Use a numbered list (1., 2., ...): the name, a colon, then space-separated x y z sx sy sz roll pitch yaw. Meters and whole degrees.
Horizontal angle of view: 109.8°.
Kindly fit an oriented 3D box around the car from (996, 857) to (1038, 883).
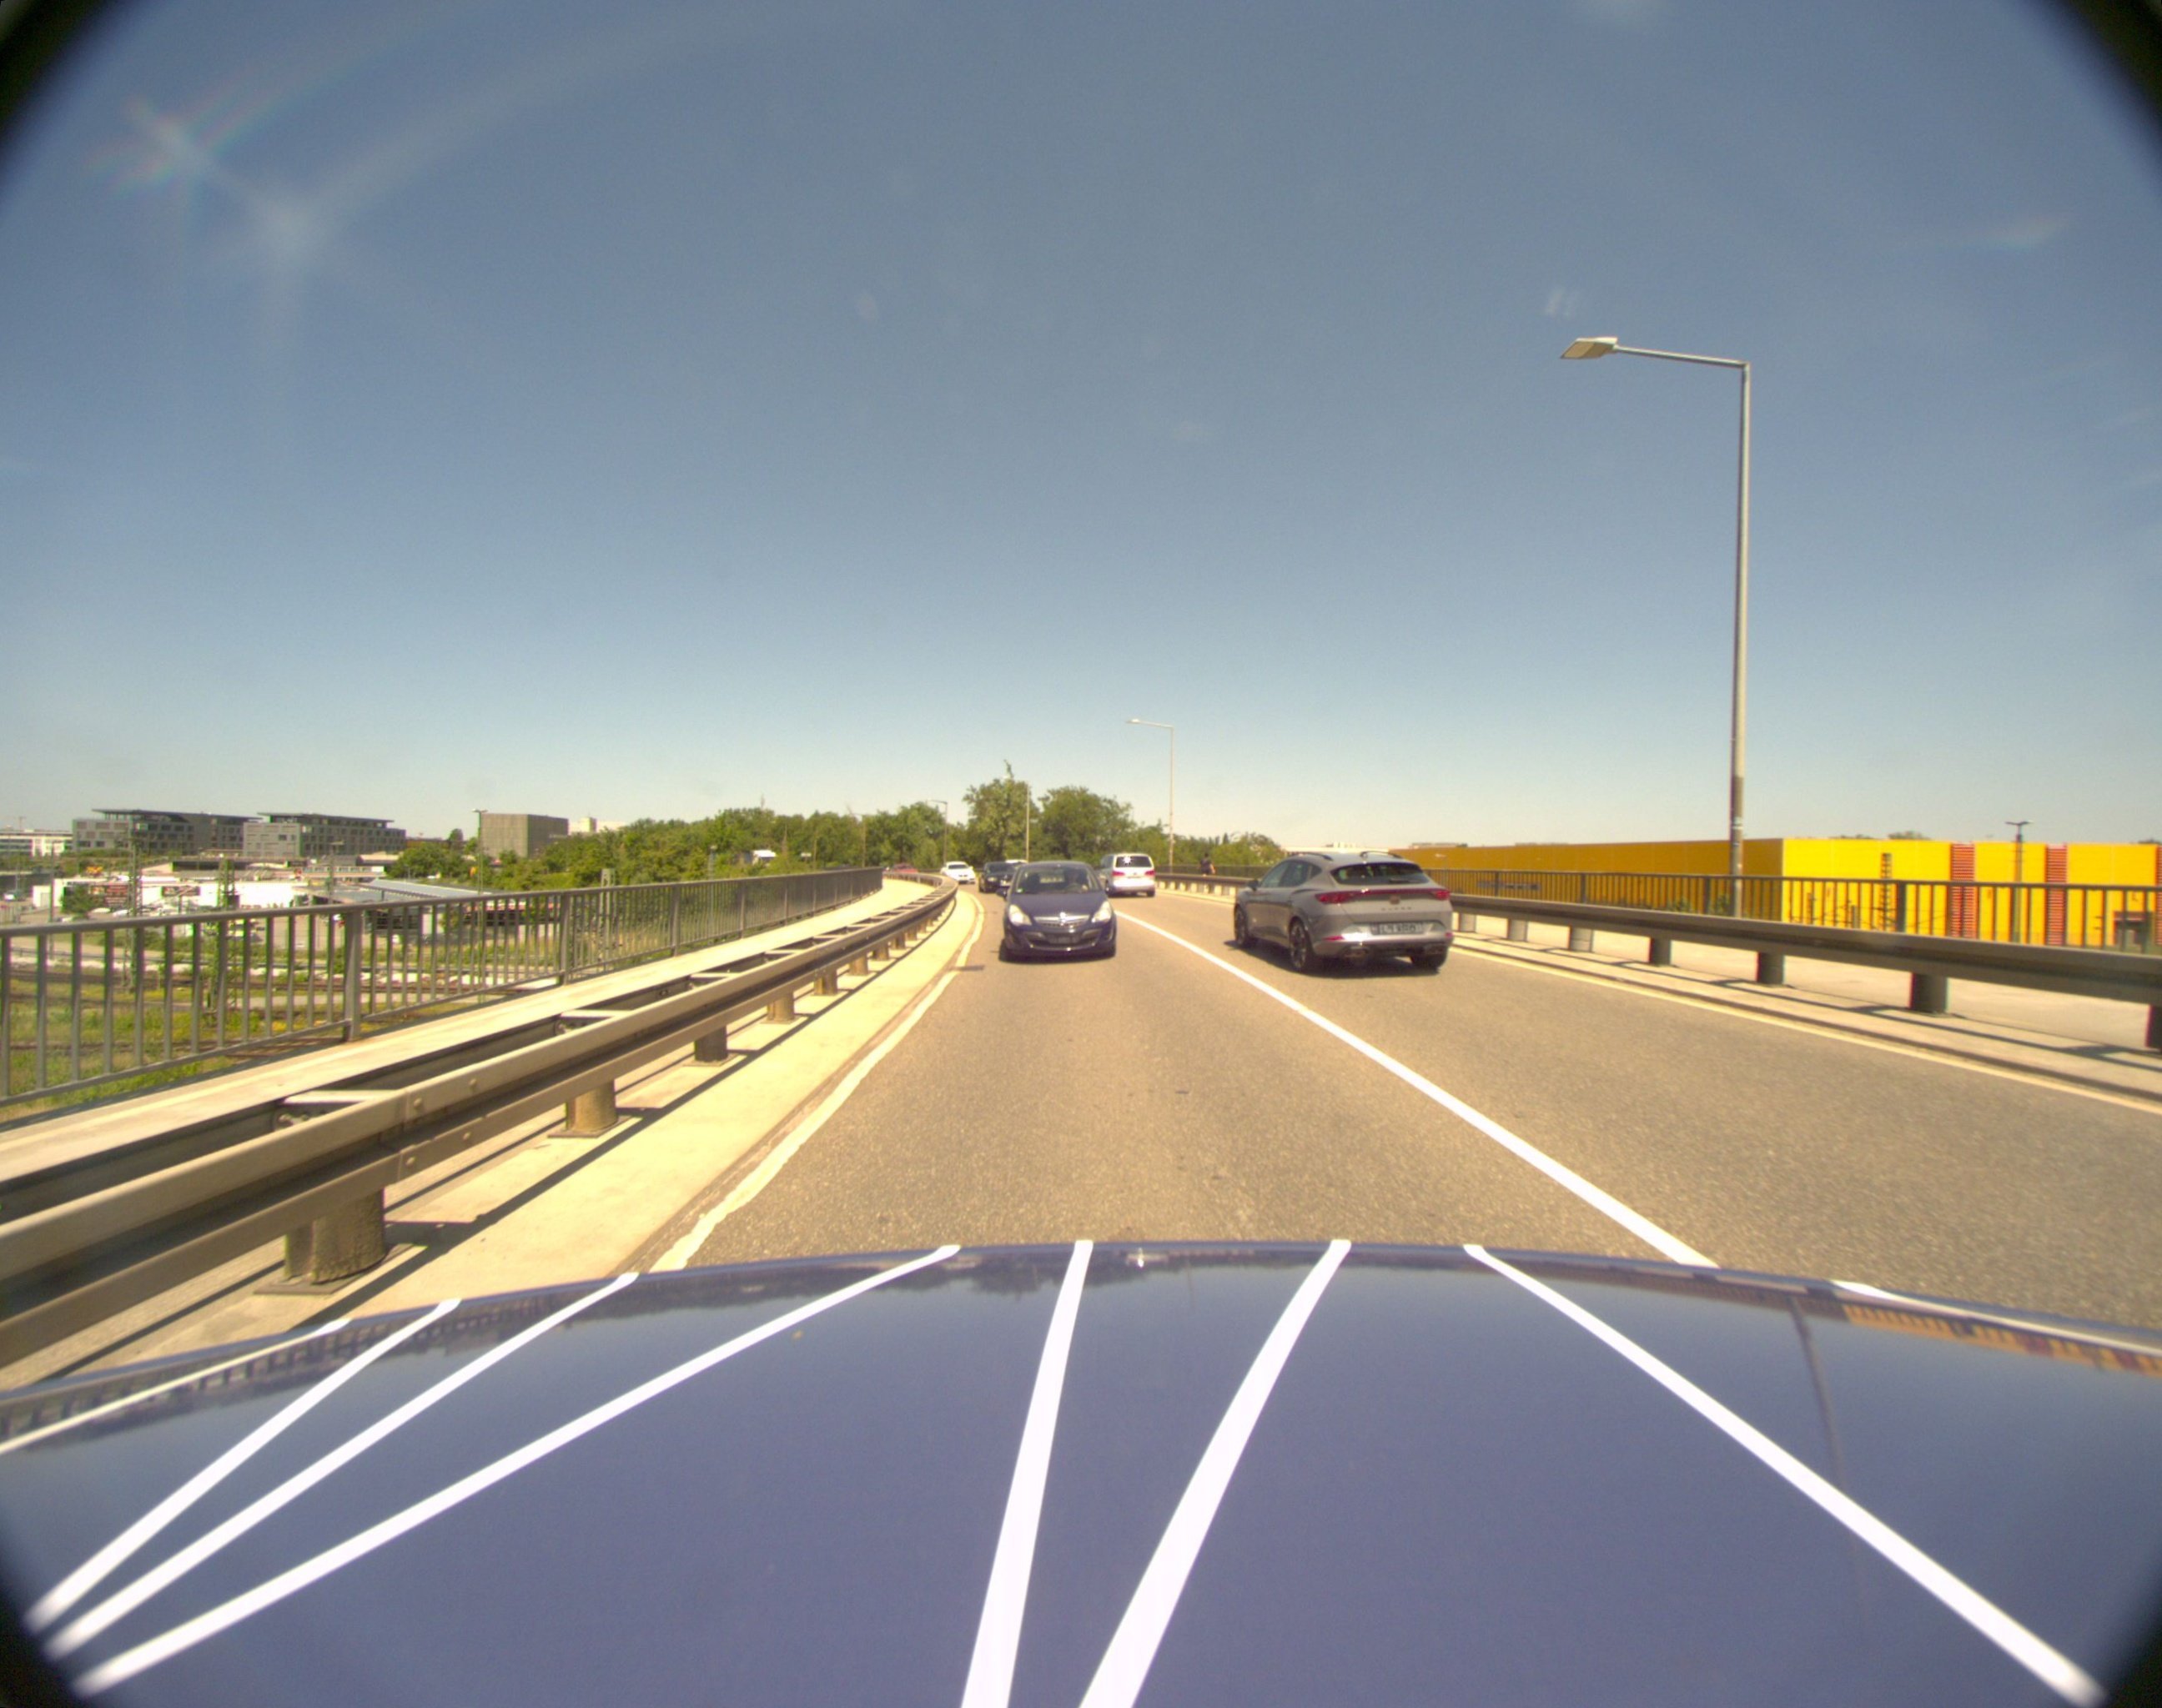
1. car: -4.241 1.018 49.629 1.701 1.598 3.993 -1 0 -20

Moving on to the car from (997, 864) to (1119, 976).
1. car: -0.451 0.943 12.570 1.645 1.431 3.998 -2 0 -4

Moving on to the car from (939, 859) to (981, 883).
1. car: -7.997 1.070 49.766 1.797 1.446 4.515 -2 0 -21

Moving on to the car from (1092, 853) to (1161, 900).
1. car: 1.636 0.796 28.777 1.699 1.598 3.996 -1 0 -10

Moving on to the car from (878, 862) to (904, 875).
1. car: -21.689 1.676 86.624 1.540 1.421 3.990 -1 -1 -34

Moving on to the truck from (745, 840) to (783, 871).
1. truck: -46.323 0.242 110.830 2.701 4.204 6.821 -4 1 -43

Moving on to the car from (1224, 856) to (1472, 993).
1. car: 3.423 0.800 10.692 1.780 1.499 4.192 -1 0 -4

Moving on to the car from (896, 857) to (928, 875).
1. car: -14.866 1.019 66.687 1.798 1.447 4.513 -1 1 -26

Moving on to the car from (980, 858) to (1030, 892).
1. car: -3.595 0.920 35.285 1.796 1.446 4.518 -2 0 -12
